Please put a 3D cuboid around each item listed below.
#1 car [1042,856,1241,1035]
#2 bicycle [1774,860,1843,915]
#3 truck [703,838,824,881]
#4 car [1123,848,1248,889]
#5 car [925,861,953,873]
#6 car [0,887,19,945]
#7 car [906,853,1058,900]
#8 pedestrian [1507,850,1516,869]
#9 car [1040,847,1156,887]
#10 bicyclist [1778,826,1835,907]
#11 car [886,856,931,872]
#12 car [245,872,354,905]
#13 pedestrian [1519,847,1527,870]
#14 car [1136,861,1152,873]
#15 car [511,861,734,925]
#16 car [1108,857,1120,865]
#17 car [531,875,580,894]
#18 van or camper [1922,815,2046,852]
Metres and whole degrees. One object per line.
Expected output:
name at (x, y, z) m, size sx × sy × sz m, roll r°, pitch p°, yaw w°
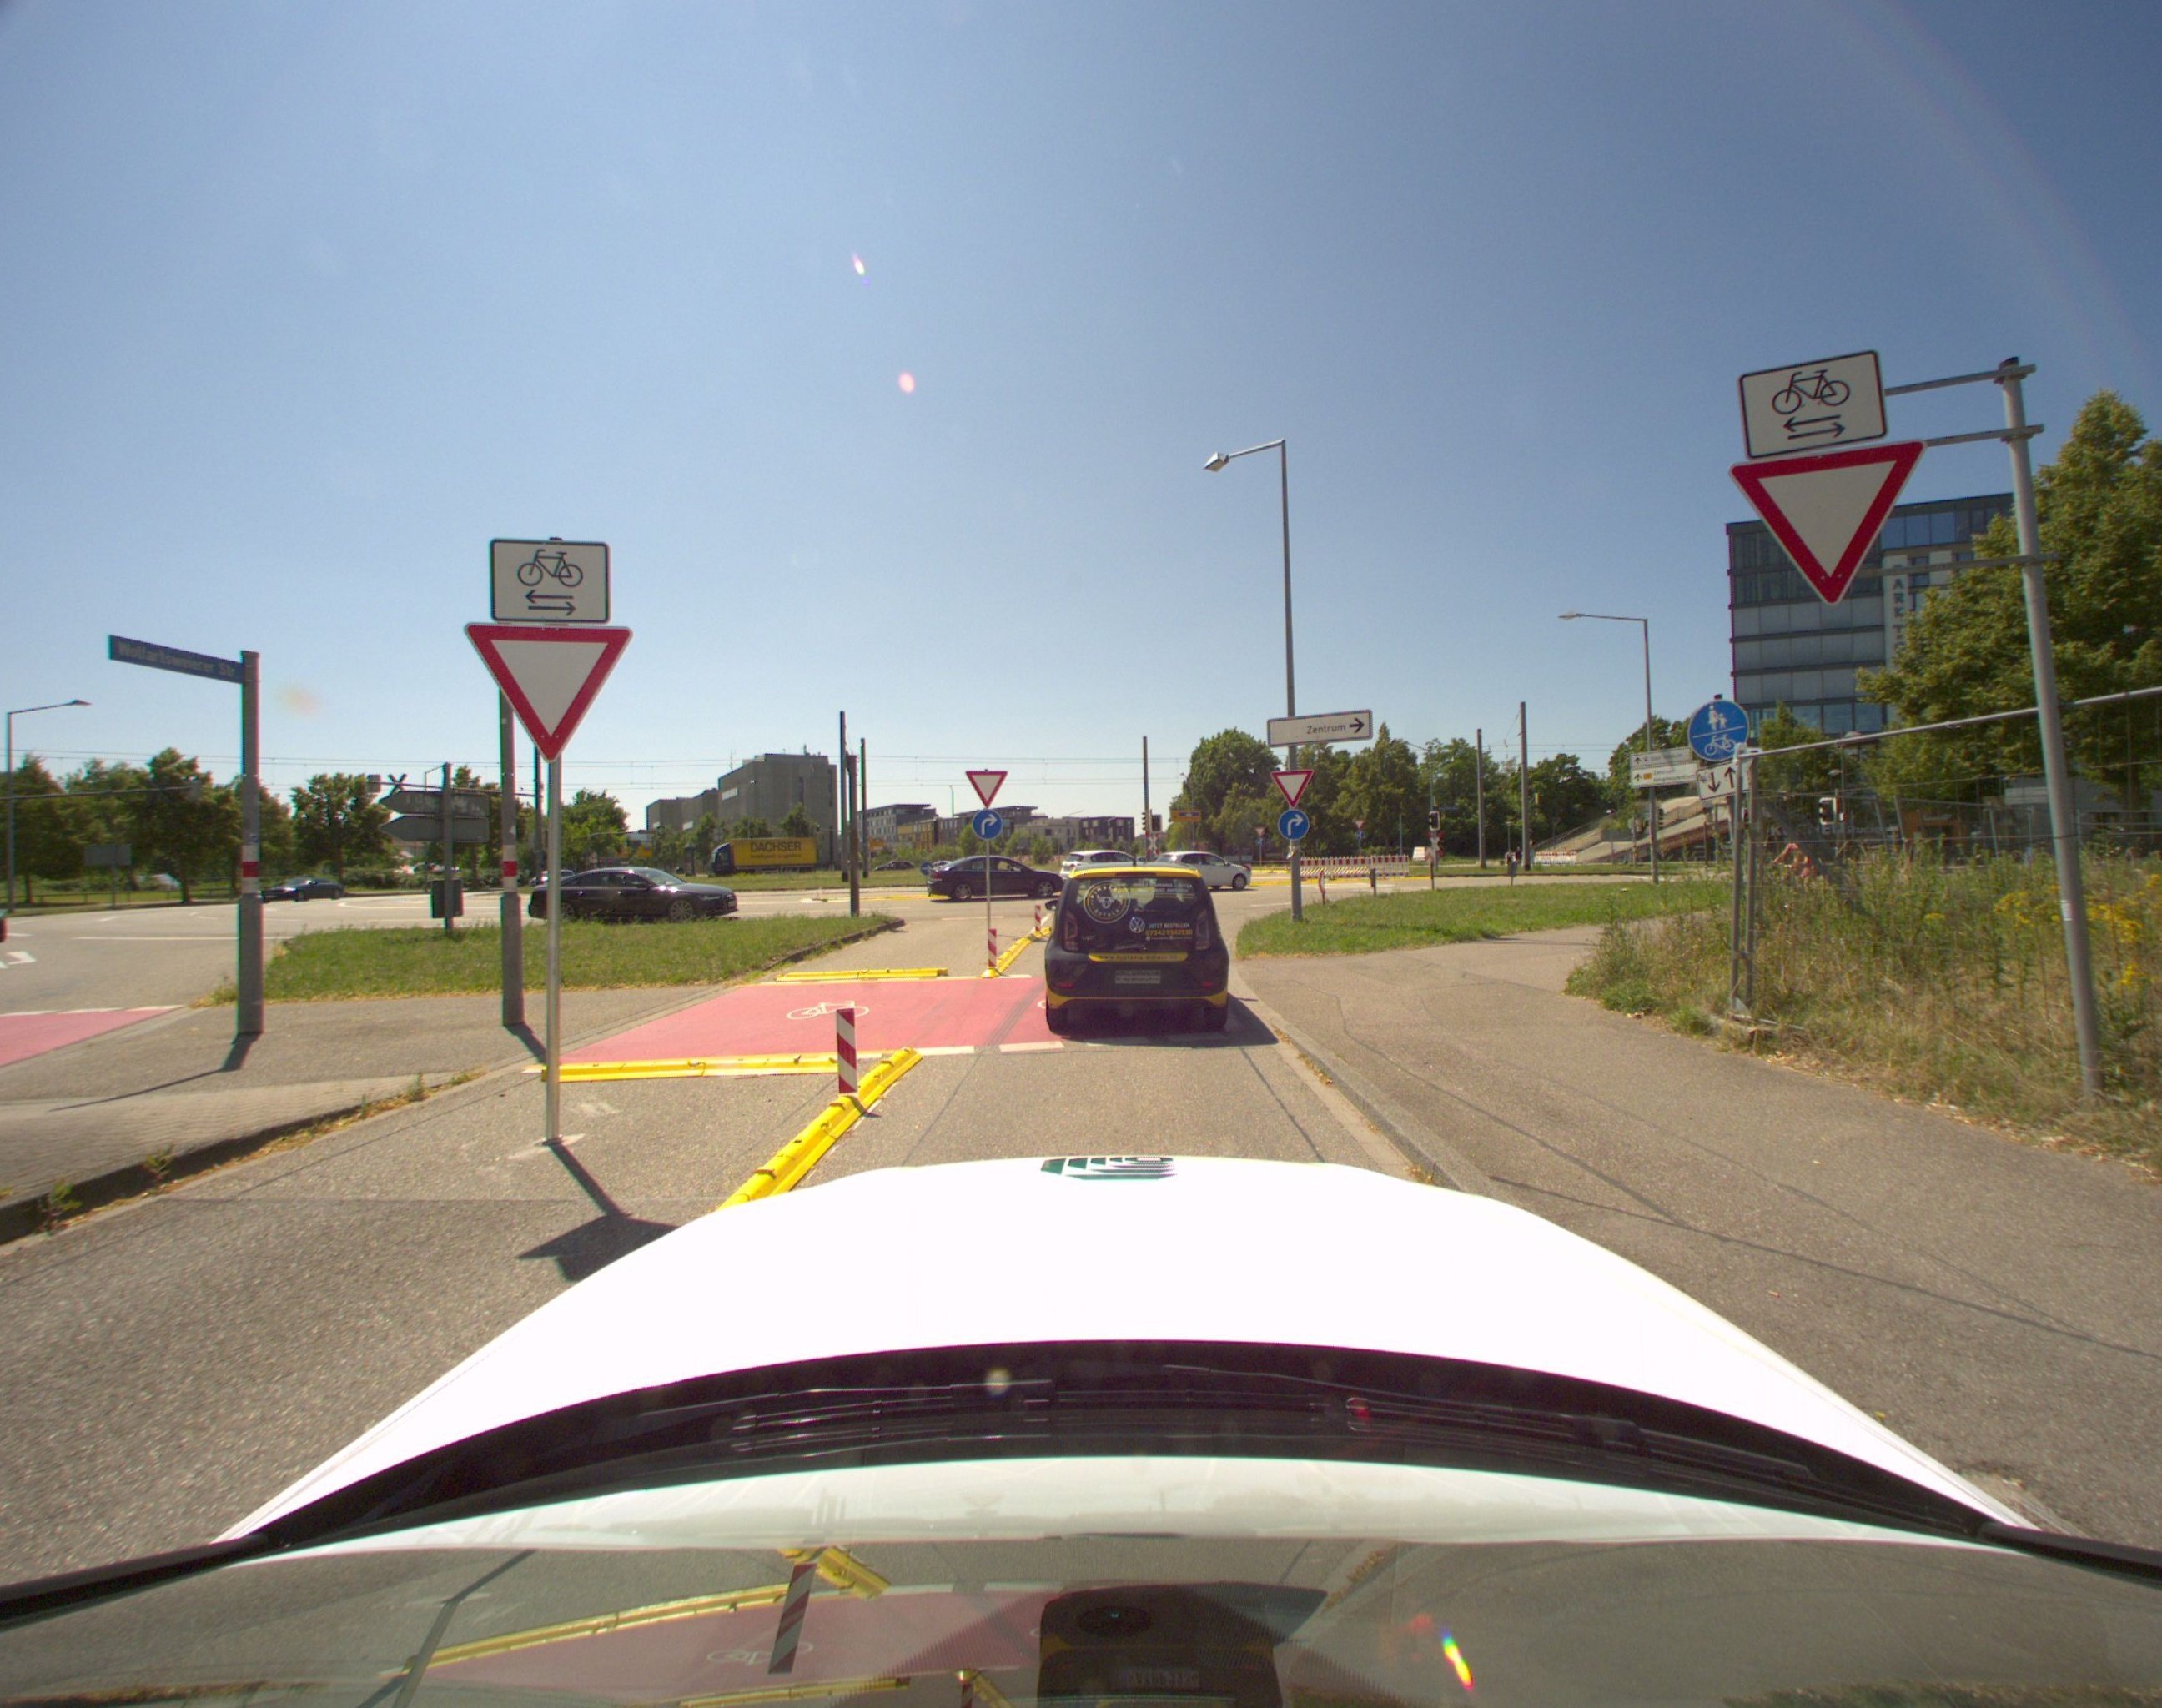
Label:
car at (0.536, 0.754, 8.639) m, size 1.613 × 1.451 × 3.987 m, roll 0°, pitch 0°, yaw 1°
bicycle at (15.362, 0.681, 17.179) m, size 2.095 × 1.058 × 0.435 m, roll -1°, pitch -1°, yaw -31°
truck at (-28.382, 0.421, 73.170) m, size 9.661 × 3.659 × 2.677 m, roll -1°, pitch 0°, yaw -38°
car at (3.909, 0.518, 30.382) m, size 4.358 × 1.449 × 1.841 m, roll 0°, pitch 0°, yaw -25°
car at (-15.528, 1.432, 89.113) m, size 2.877 × 1.155 × 1.204 m, roll -1°, pitch -1°, yaw -1°
car at (-28.516, 1.566, 20.169) m, size 4.561 × 1.412 × 1.733 m, roll -2°, pitch 0°, yaw 25°
car at (-3.323, 0.714, 27.072) m, size 4.754 × 1.449 × 1.989 m, roll 0°, pitch 0°, yaw -17°
pedestrian at (32.502, 0.399, 61.504) m, size 0.517 × 1.429 × 0.353 m, roll -1°, pitch -1°, yaw 10°
car at (0.697, 0.529, 33.710) m, size 4.376 × 1.486 × 1.982 m, roll -1°, pitch 0°, yaw -27°
bicyclist at (15.327, 0.262, 17.213) m, size 0.712 × 1.664 × 0.640 m, roll -1°, pitch -2°, yaw -30°
car at (-16.666, 0.965, 78.557) m, size 4.046 × 1.461 × 1.719 m, roll -1°, pitch 0°, yaw -18°
car at (-44.737, 1.945, 46.793) m, size 1.850 × 1.436 × 4.945 m, roll 0°, pitch 3°, yaw -7°
pedestrian at (33.703, 0.369, 62.140) m, size 0.444 × 1.739 × 0.292 m, roll -1°, pitch -1°, yaw 13°
car at (8.033, 1.630, 103.535) m, size 1.648 × 1.372 × 3.041 m, roll -1°, pitch 0°, yaw 11°
car at (-11.857, 0.977, 21.318) m, size 4.623 × 1.449 × 1.998 m, roll -2°, pitch 0°, yaw -3°
car at (4.951, 1.051, 122.986) m, size 1.485 × 1.089 × 3.527 m, roll -1°, pitch 0°, yaw 7°
car at (-45.612, 2.655, 70.799) m, size 1.822 × 1.454 × 5.002 m, roll -1°, pitch 0°, yaw -12°
van or camper at (74.040, -1.665, 66.908) m, size 6.721 × 2.822 × 2.390 m, roll -1°, pitch 0°, yaw 11°
